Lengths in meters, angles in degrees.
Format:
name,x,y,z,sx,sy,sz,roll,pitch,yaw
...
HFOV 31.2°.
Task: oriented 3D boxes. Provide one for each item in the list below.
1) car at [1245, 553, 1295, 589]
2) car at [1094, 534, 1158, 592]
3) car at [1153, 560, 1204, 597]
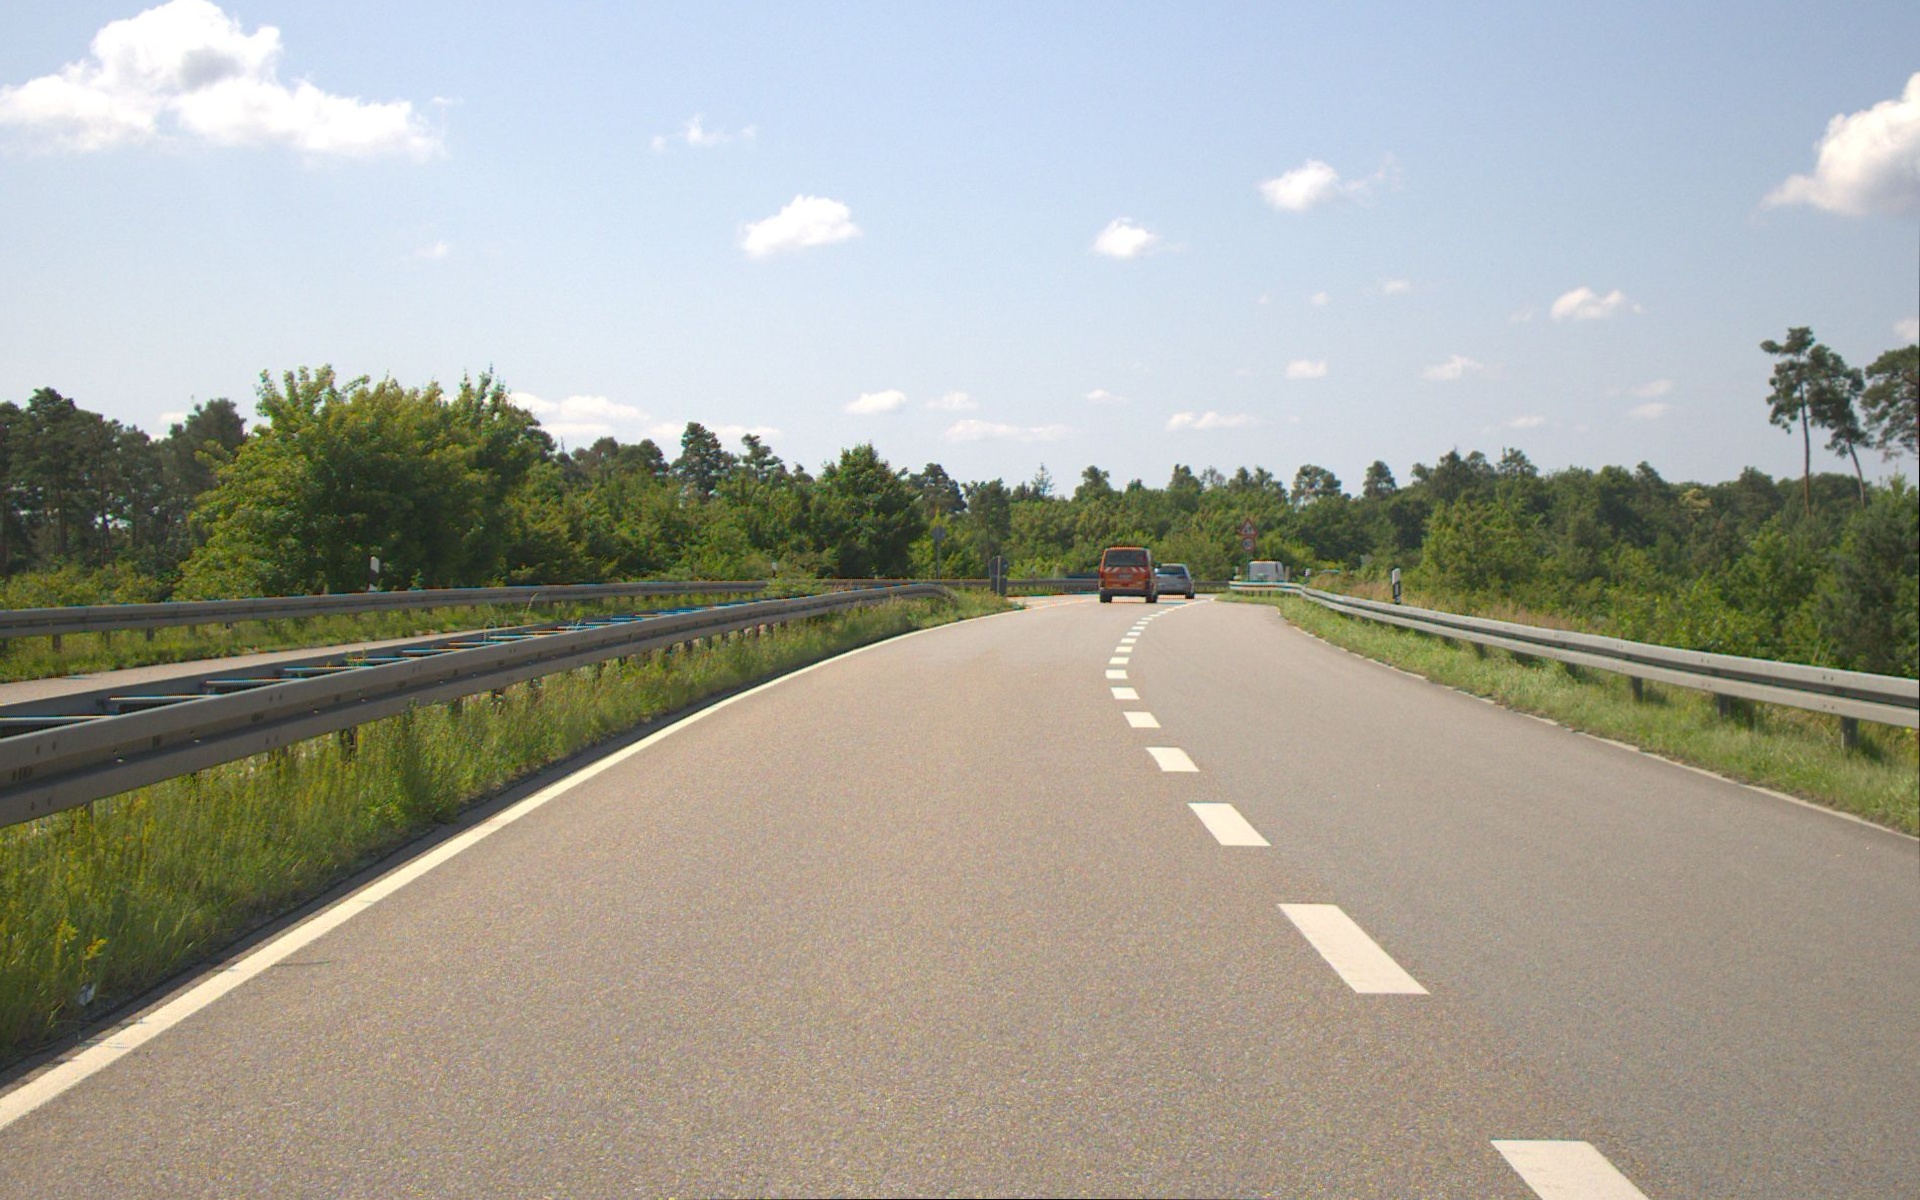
name,x,y,z,sx,sy,sz,roll,pitch,yaw
car,17.822,-1.651,197.456,2.186,1.948,5.801,1,0,11
car,5.959,-1.305,122.794,2.078,1.986,5.111,1,0,5
car,9.209,-0.903,144.439,2.007,1.489,4.238,1,0,5
